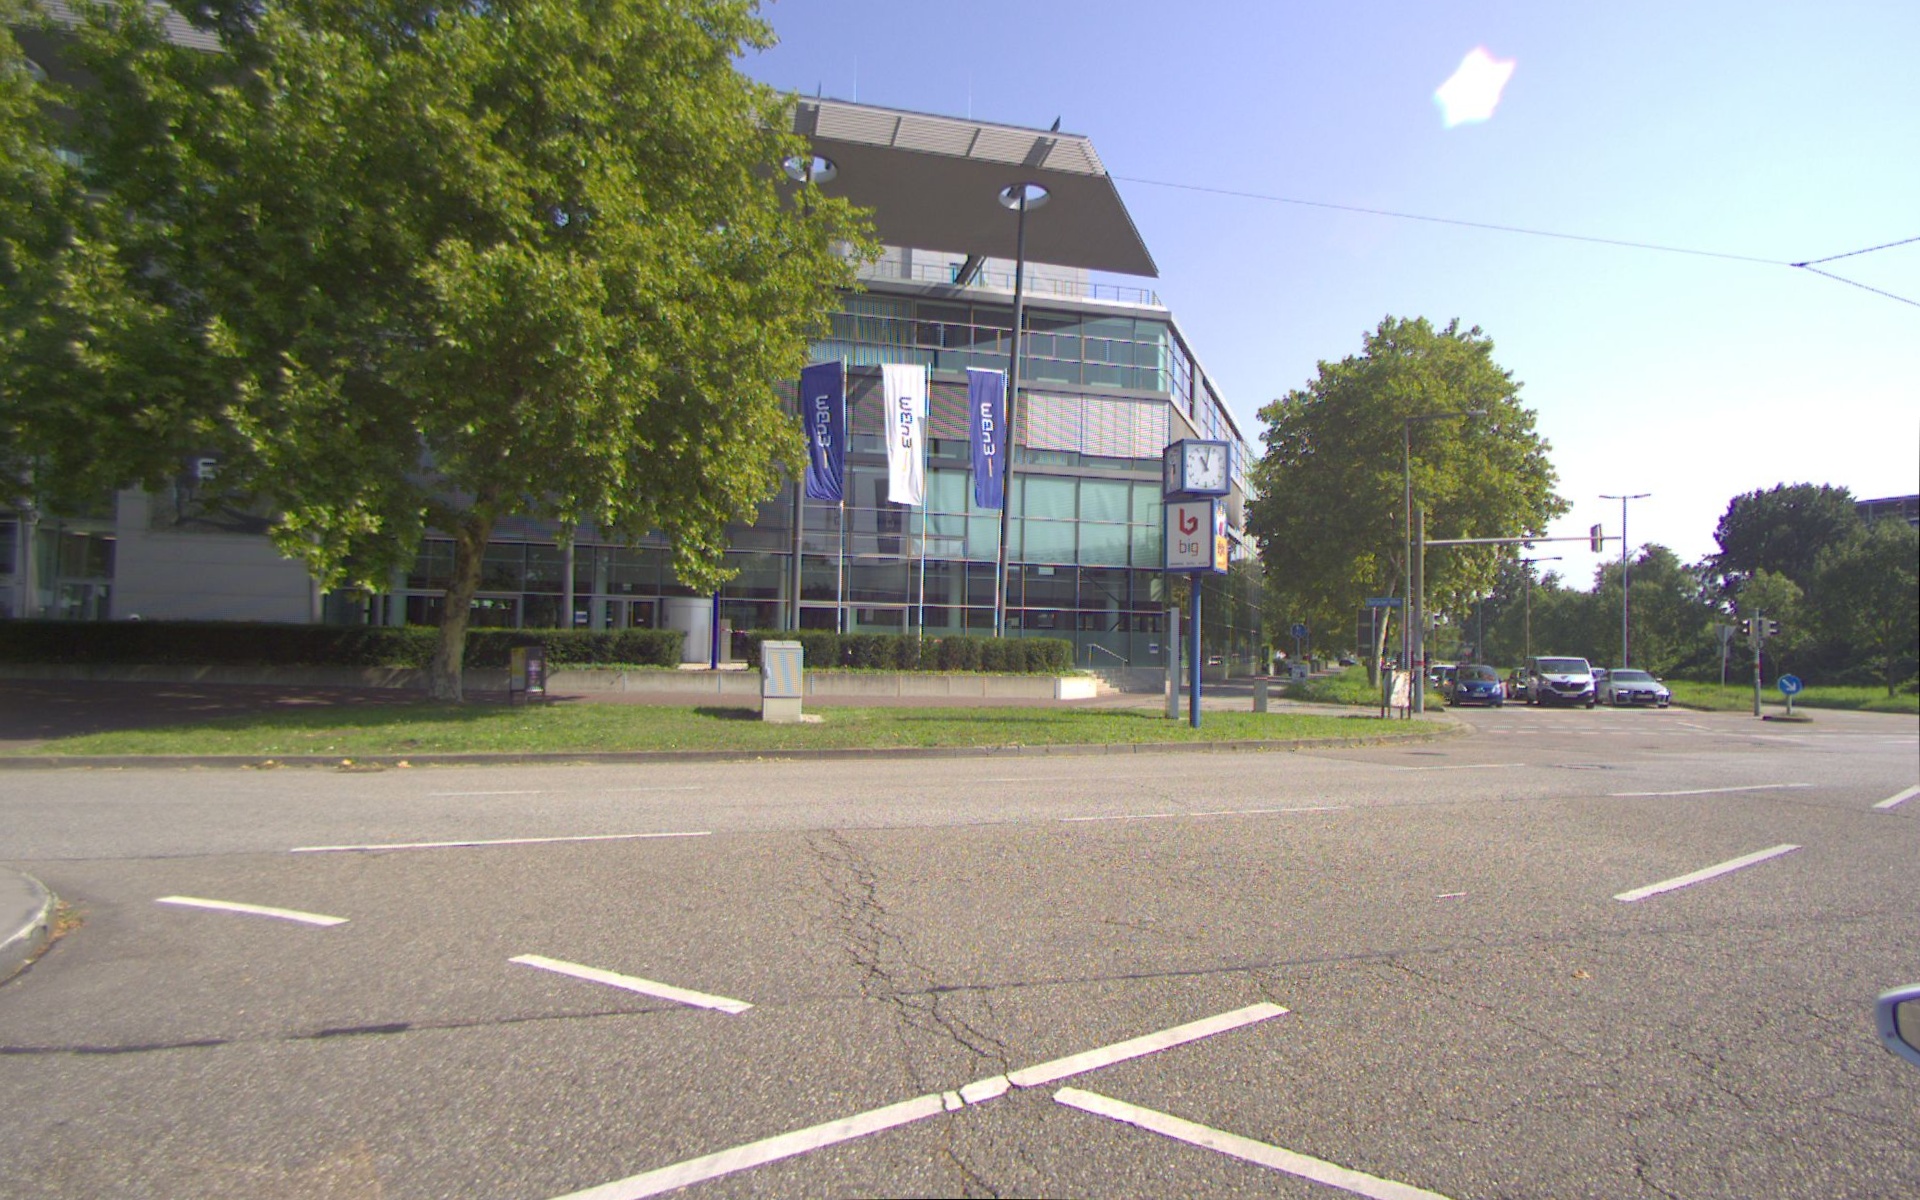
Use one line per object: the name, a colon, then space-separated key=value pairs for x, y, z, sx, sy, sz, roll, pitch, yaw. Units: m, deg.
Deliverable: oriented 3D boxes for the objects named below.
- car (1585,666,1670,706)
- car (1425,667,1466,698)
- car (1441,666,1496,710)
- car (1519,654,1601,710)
car: x=26.579 y=3.394 z=40.161 sx=1.805 sy=1.461 sz=4.607 roll=-2 pitch=-4 yaw=21
car: x=24.766 y=4.197 z=51.322 sx=1.641 sy=1.555 sz=3.730 roll=-2 pitch=-4 yaw=23
car: x=19.784 y=3.379 z=39.172 sx=1.641 sy=1.555 sz=3.729 roll=-2 pitch=-3 yaw=23
car: x=23.601 y=3.164 z=39.705 sx=1.895 sy=1.983 sz=5.213 roll=0 pitch=-2 yaw=21
